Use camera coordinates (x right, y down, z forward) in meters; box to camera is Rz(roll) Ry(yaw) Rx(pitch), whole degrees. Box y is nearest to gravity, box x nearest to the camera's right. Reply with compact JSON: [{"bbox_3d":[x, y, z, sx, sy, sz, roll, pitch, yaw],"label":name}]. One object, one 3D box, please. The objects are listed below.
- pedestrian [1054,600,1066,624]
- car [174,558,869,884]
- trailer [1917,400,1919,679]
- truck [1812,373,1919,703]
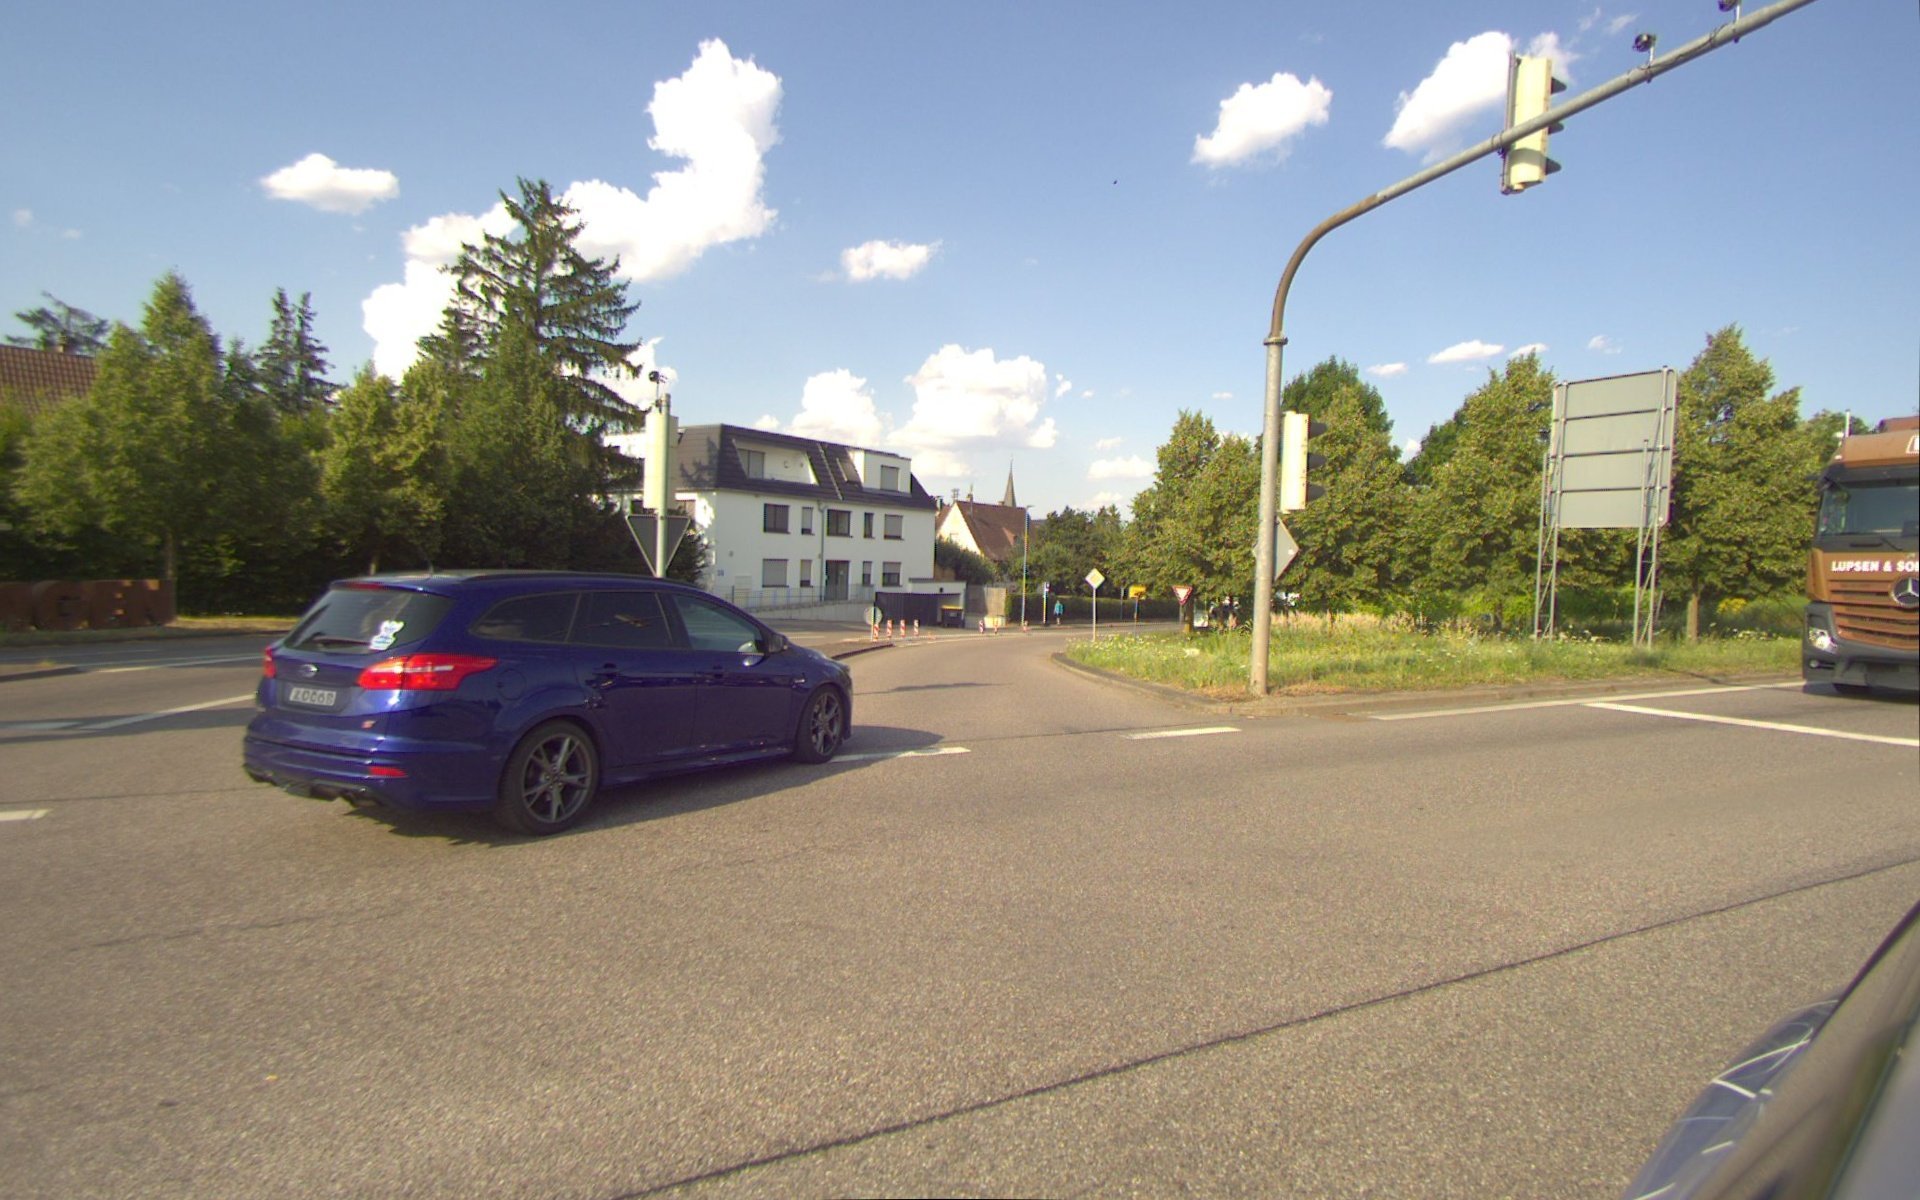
[{"bbox_3d":[7.132,0.859,72.390,0.613,1.750,0.632,0,0,33],"label":"pedestrian"},{"bbox_3d":[-2.548,0.523,7.016,1.778,1.516,4.259,0,1,28],"label":"car"},{"bbox_3d":[20.999,-0.900,17.058,14.042,4.118,2.544,0,0,-27],"label":"trailer"},{"bbox_3d":[14.900,-0.806,13.890,6.525,4.094,2.544,-1,1,-27],"label":"truck"}]
